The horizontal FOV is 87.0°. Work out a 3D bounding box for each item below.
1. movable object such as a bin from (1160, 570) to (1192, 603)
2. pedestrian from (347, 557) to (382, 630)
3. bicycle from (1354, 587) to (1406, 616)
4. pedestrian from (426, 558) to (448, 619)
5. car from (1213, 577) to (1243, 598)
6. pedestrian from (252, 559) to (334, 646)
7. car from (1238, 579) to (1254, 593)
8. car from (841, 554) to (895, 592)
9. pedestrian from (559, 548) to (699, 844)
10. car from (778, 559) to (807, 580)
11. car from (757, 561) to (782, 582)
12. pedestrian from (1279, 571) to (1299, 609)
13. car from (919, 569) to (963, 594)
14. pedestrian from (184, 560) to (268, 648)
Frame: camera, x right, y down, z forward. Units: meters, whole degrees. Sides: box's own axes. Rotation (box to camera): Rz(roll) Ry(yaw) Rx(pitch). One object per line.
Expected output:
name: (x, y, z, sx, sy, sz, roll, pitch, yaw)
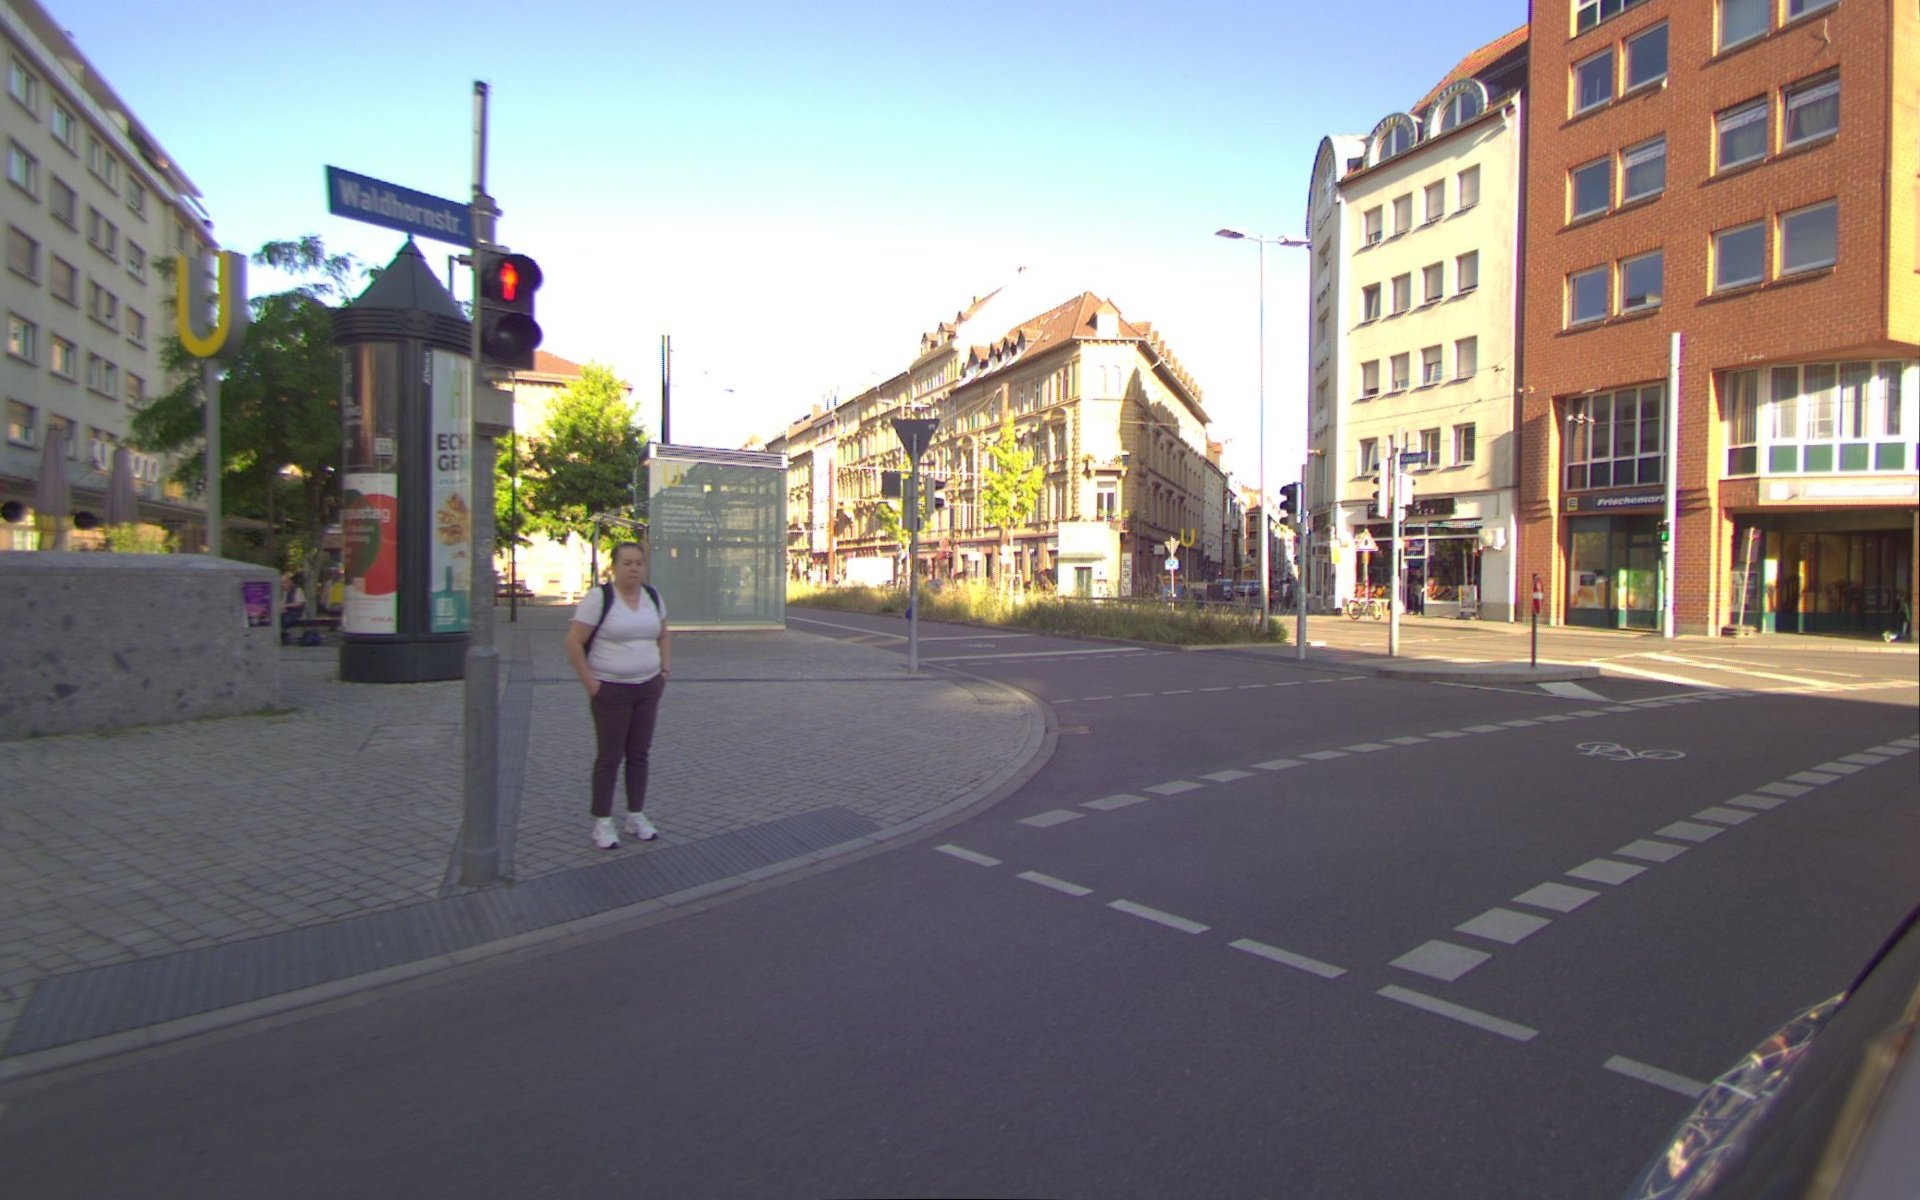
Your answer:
movable object such as a bin: (12.148, -0.730, 56.917, 1.627, 1.806, 1.394, -1, -1, 18)
pedestrian: (-14.673, -0.167, 24.949, 0.704, 1.767, 0.683, 0, 1, -34)
bicycle: (14.899, 0.044, 35.947, 0.450, 1.003, 1.869, -2, 2, -24)
pedestrian: (-14.735, -0.328, 28.498, 0.496, 1.692, 0.477, 0, 1, -21)
car: (20.607, -0.980, 77.766, 1.709, 1.541, 3.968, 1, 1, 23)
pedestrian: (-11.338, 0.036, 17.215, 0.913, 1.438, 0.719, 1, 0, 8)
car: (27.176, -1.313, 96.036, 1.404, 1.277, 2.941, 1, 0, 18)
car: (-7.662, -2.261, 84.149, 2.235, 3.059, 5.369, -2, 2, -33)
pedestrian: (-1.902, 0.513, 5.842, 0.535, 1.603, 0.553, 1, 0, 23)
car: (-18.056, -3.284, 108.790, 2.188, 2.039, 4.351, -1, 0, -21)
car: (-22.662, -3.385, 120.128, 2.188, 2.413, 4.351, -1, 0, -21)
pedestrian: (14.902, -0.460, 45.847, 0.681, 1.658, 0.960, 0, 2, 7)
car: (-1.313, -1.267, 68.475, 1.692, 1.630, 3.937, -1, 2, -23)
pedestrian: (-12.491, 0.058, 17.237, 0.915, 1.464, 0.718, 1, 0, 13)
